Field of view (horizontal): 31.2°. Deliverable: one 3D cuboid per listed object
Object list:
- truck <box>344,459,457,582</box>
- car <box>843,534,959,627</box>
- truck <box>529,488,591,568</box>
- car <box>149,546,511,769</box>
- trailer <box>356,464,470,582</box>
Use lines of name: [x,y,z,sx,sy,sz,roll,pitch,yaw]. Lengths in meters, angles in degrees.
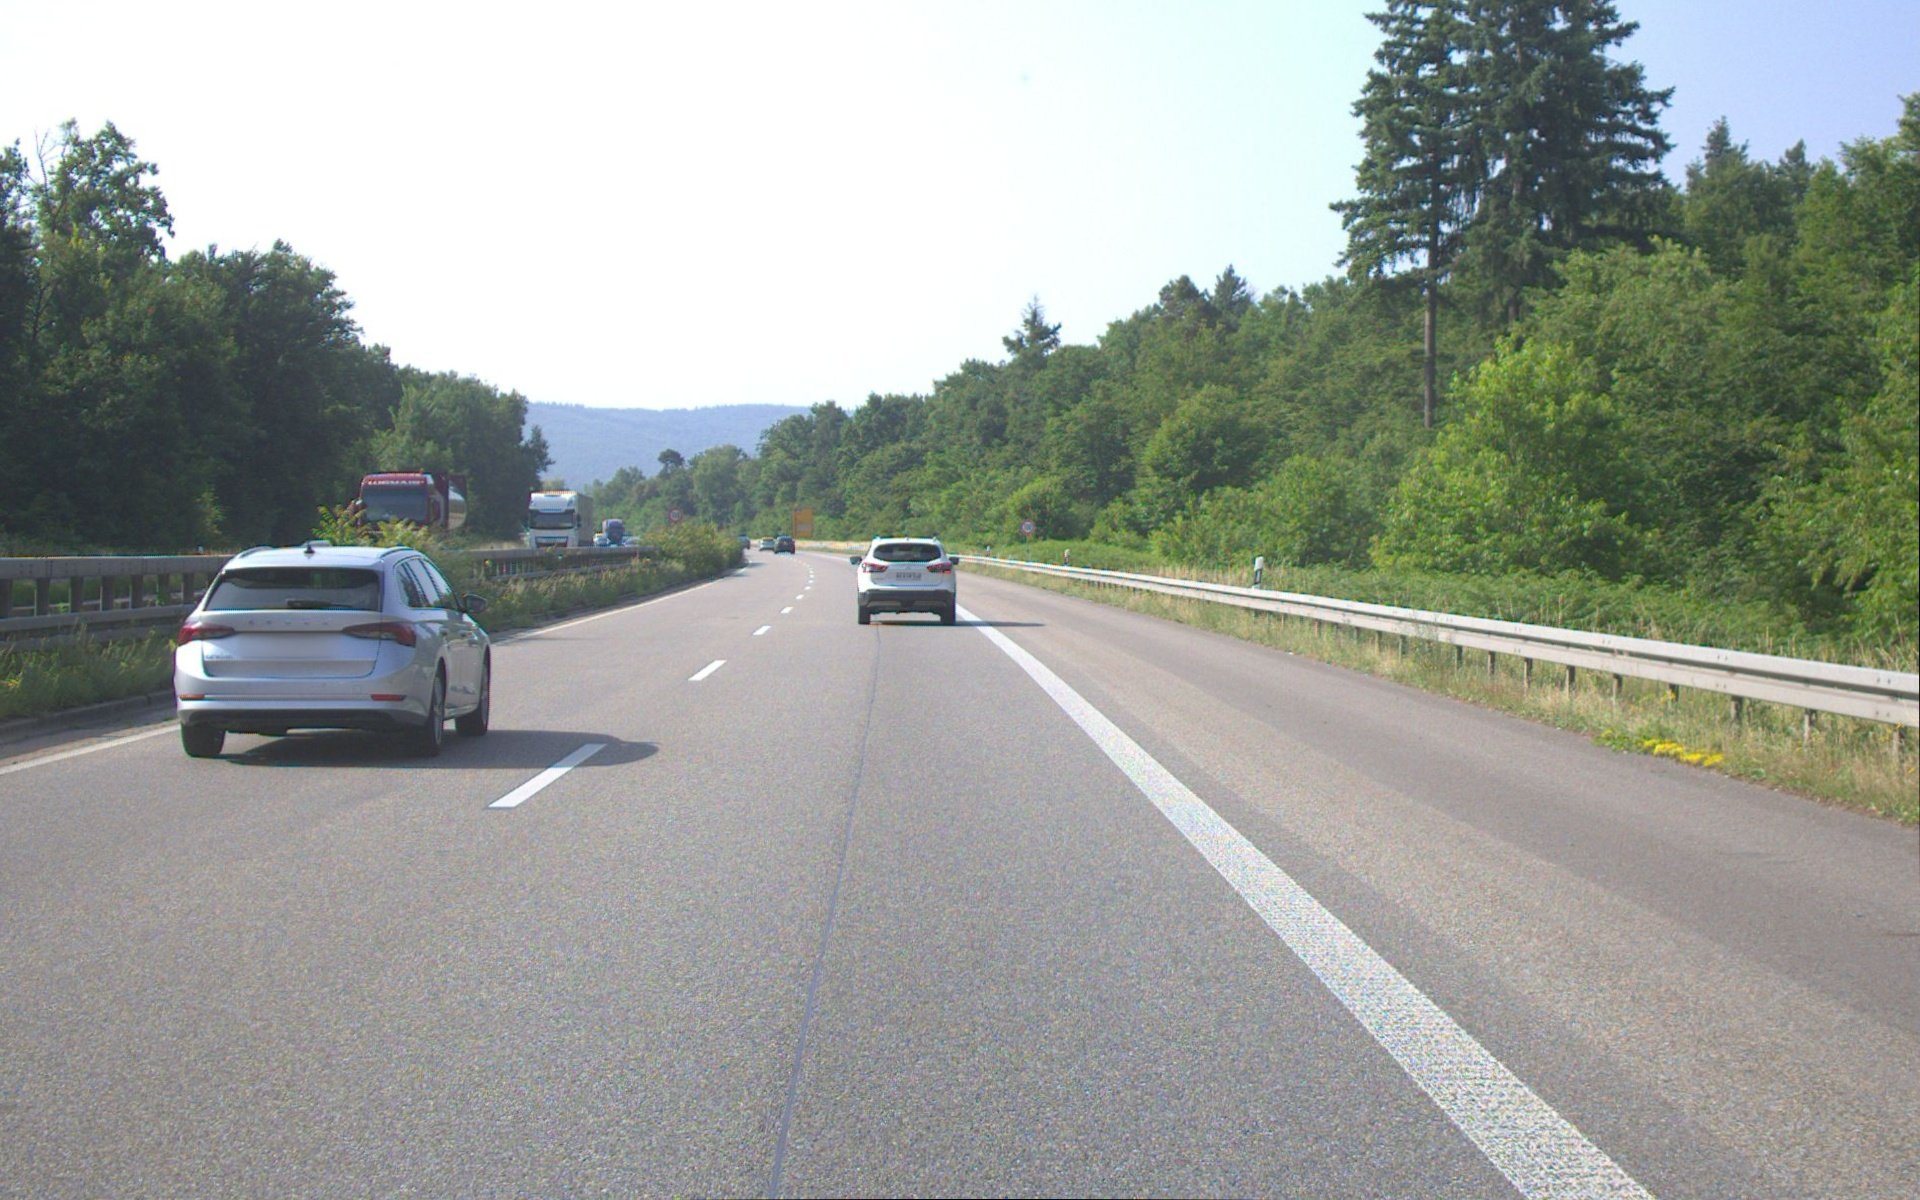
truck: [-19.069,-2.673,117.418,3.266,4.025,6.234,1,0,-5]
car: [-1.127,-0.382,63.612,1.873,1.581,4.001,2,1,-4]
truck: [-21.329,-3.847,183.566,2.837,4.181,5.547,0,1,-3]
car: [-4.484,0.336,25.245,1.792,1.433,5.279,0,1,-1]
trailer: [-19.464,-2.694,122.703,3.294,4.025,8.375,1,0,-4]
